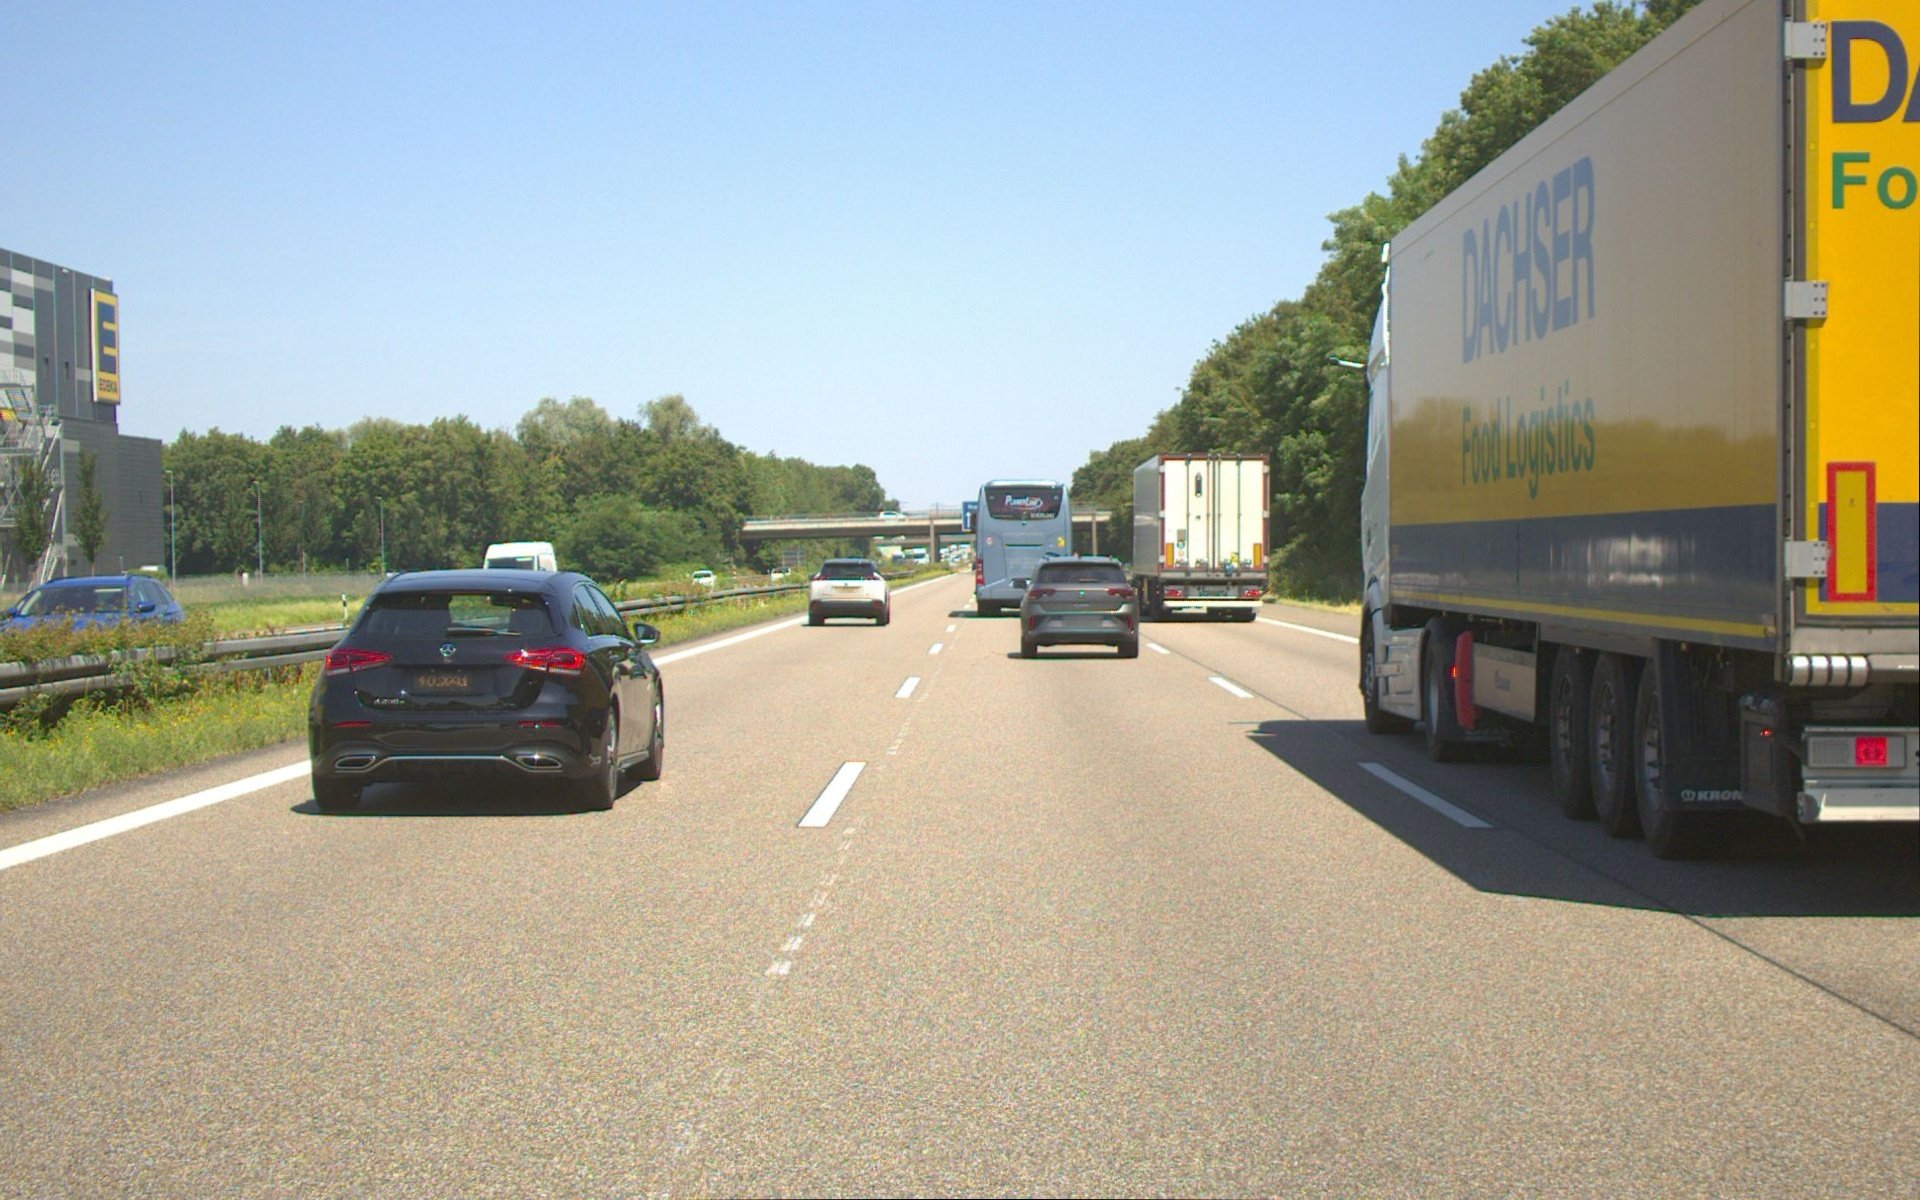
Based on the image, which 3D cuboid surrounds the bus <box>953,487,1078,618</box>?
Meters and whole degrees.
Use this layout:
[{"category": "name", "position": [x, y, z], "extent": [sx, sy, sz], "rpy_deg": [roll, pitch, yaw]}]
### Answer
[{"category": "bus", "position": [1.430, -1.282, 93.171], "extent": [3.062, 3.315, 8.274], "rpy_deg": [-2, 1, -1]}]

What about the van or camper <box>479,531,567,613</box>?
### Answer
[{"category": "van or camper", "position": [-15.366, -1.007, 121.232], "extent": [2.056, 2.770, 6.965], "rpy_deg": [-2, 1, 0]}]

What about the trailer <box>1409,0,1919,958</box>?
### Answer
[{"category": "trailer", "position": [4.637, -0.698, 18.996], "extent": [2.834, 3.940, 11.684], "rpy_deg": [0, 1, 0]}]

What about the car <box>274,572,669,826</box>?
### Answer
[{"category": "car", "position": [-2.932, 0.546, 21.446], "extent": [1.792, 1.407, 4.052], "rpy_deg": [0, 1, 1]}]

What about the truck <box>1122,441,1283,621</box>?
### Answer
[{"category": "truck", "position": [5.867, -1.671, 84.689], "extent": [3.423, 4.112, 9.564], "rpy_deg": [-2, 1, 2]}]

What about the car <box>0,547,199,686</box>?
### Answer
[{"category": "car", "position": [-11.894, 0.188, 47.155], "extent": [1.911, 1.782, 4.482], "rpy_deg": [-2, 1, -1]}]

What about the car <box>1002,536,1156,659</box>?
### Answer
[{"category": "car", "position": [1.791, -0.072, 53.559], "extent": [2.216, 1.784, 5.393], "rpy_deg": [-1, 1, 0]}]

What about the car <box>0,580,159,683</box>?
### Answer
[{"category": "car", "position": [-15.691, 0.532, 60.886], "extent": [1.851, 1.606, 4.836], "rpy_deg": [-4, 1, -1]}]

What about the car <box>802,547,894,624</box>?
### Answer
[{"category": "car", "position": [-2.563, -0.358, 79.508], "extent": [1.993, 1.722, 4.131], "rpy_deg": [0, 1, 0]}]

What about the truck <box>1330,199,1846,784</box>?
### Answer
[{"category": "truck", "position": [4.676, -0.789, 26.957], "extent": [2.813, 3.993, 6.645], "rpy_deg": [-1, 1, 0]}]
